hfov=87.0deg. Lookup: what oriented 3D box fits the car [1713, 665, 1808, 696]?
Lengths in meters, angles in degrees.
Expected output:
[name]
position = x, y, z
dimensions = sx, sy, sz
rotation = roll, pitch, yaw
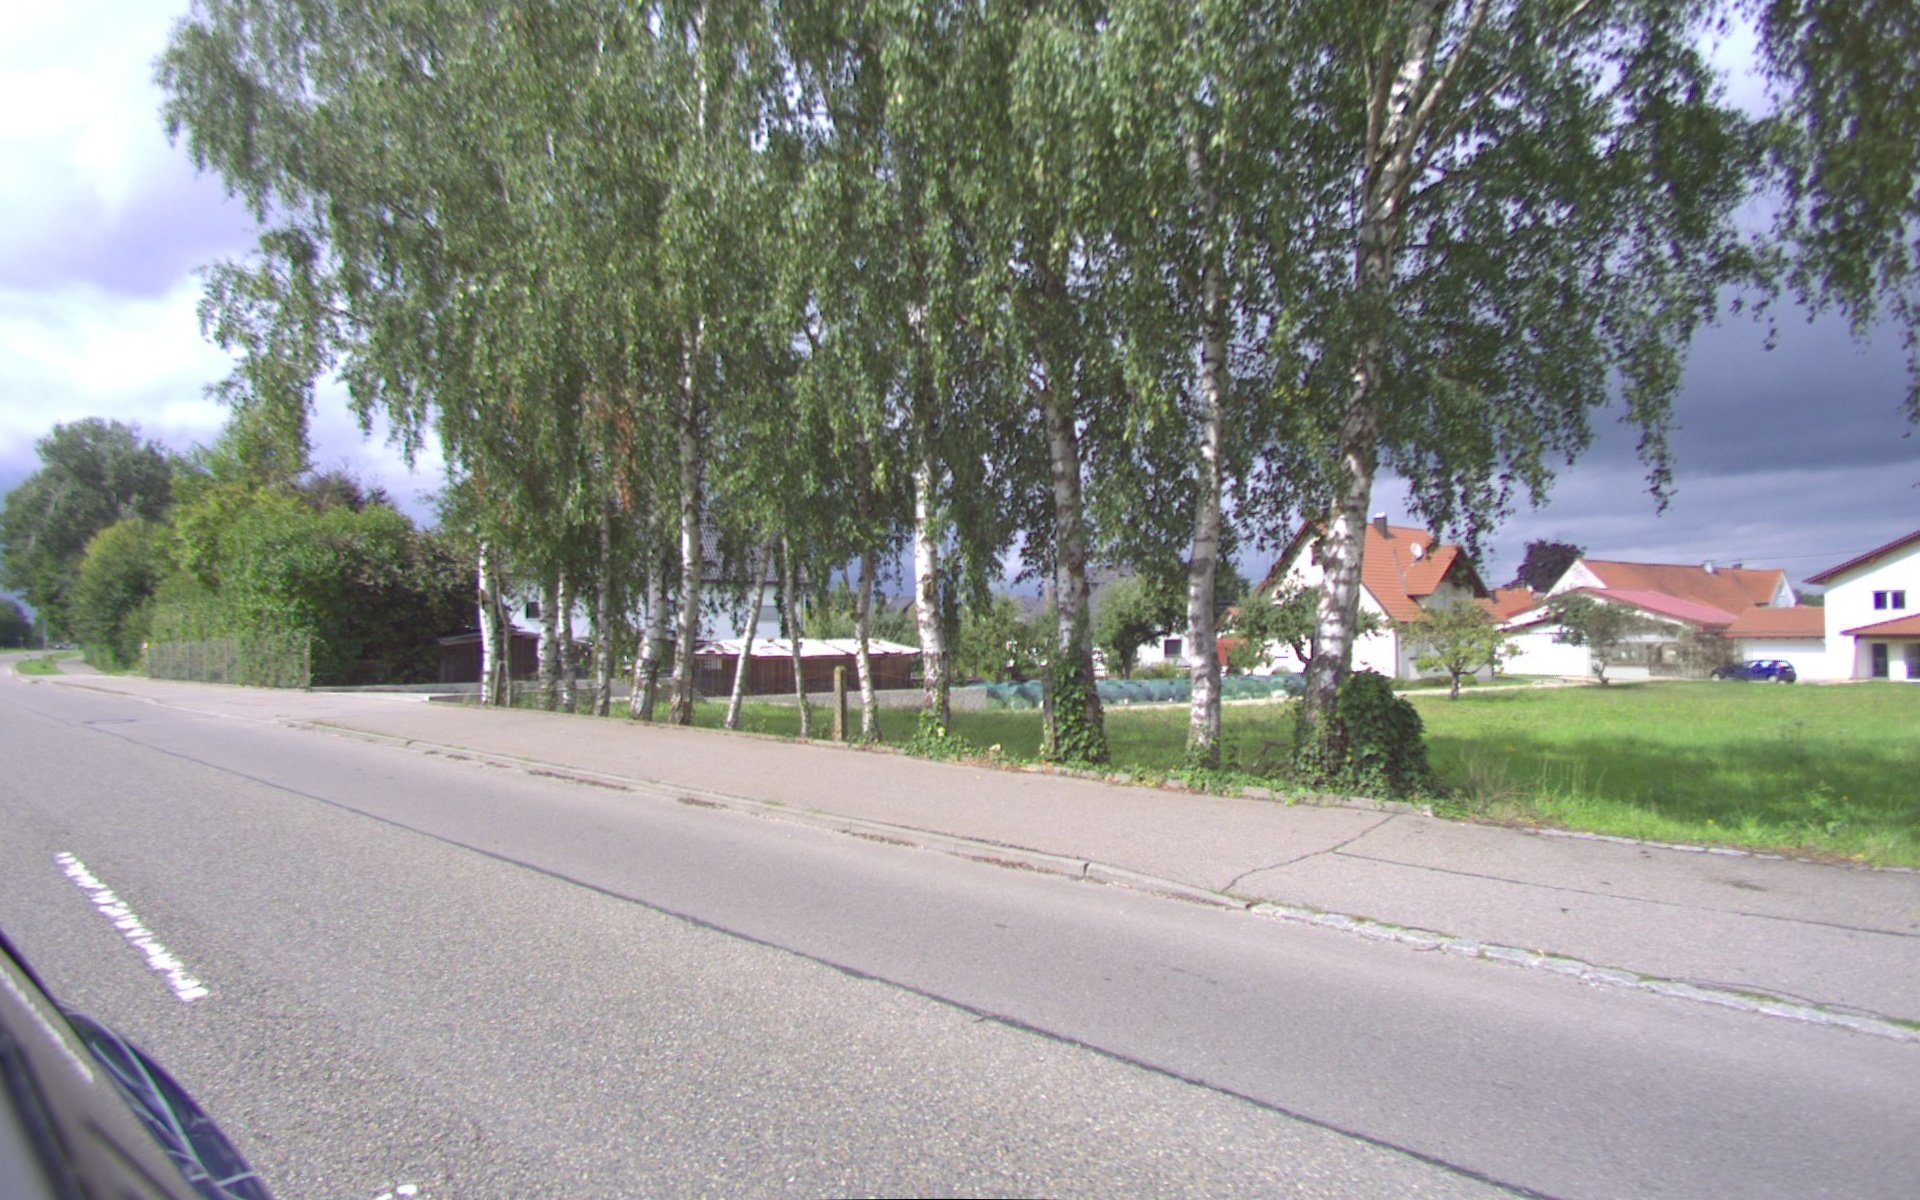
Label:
[car]
position = 47.793, 4.790, 60.507
dimensions = 1.966, 1.733, 4.011
rotation = 1, -3, -16
